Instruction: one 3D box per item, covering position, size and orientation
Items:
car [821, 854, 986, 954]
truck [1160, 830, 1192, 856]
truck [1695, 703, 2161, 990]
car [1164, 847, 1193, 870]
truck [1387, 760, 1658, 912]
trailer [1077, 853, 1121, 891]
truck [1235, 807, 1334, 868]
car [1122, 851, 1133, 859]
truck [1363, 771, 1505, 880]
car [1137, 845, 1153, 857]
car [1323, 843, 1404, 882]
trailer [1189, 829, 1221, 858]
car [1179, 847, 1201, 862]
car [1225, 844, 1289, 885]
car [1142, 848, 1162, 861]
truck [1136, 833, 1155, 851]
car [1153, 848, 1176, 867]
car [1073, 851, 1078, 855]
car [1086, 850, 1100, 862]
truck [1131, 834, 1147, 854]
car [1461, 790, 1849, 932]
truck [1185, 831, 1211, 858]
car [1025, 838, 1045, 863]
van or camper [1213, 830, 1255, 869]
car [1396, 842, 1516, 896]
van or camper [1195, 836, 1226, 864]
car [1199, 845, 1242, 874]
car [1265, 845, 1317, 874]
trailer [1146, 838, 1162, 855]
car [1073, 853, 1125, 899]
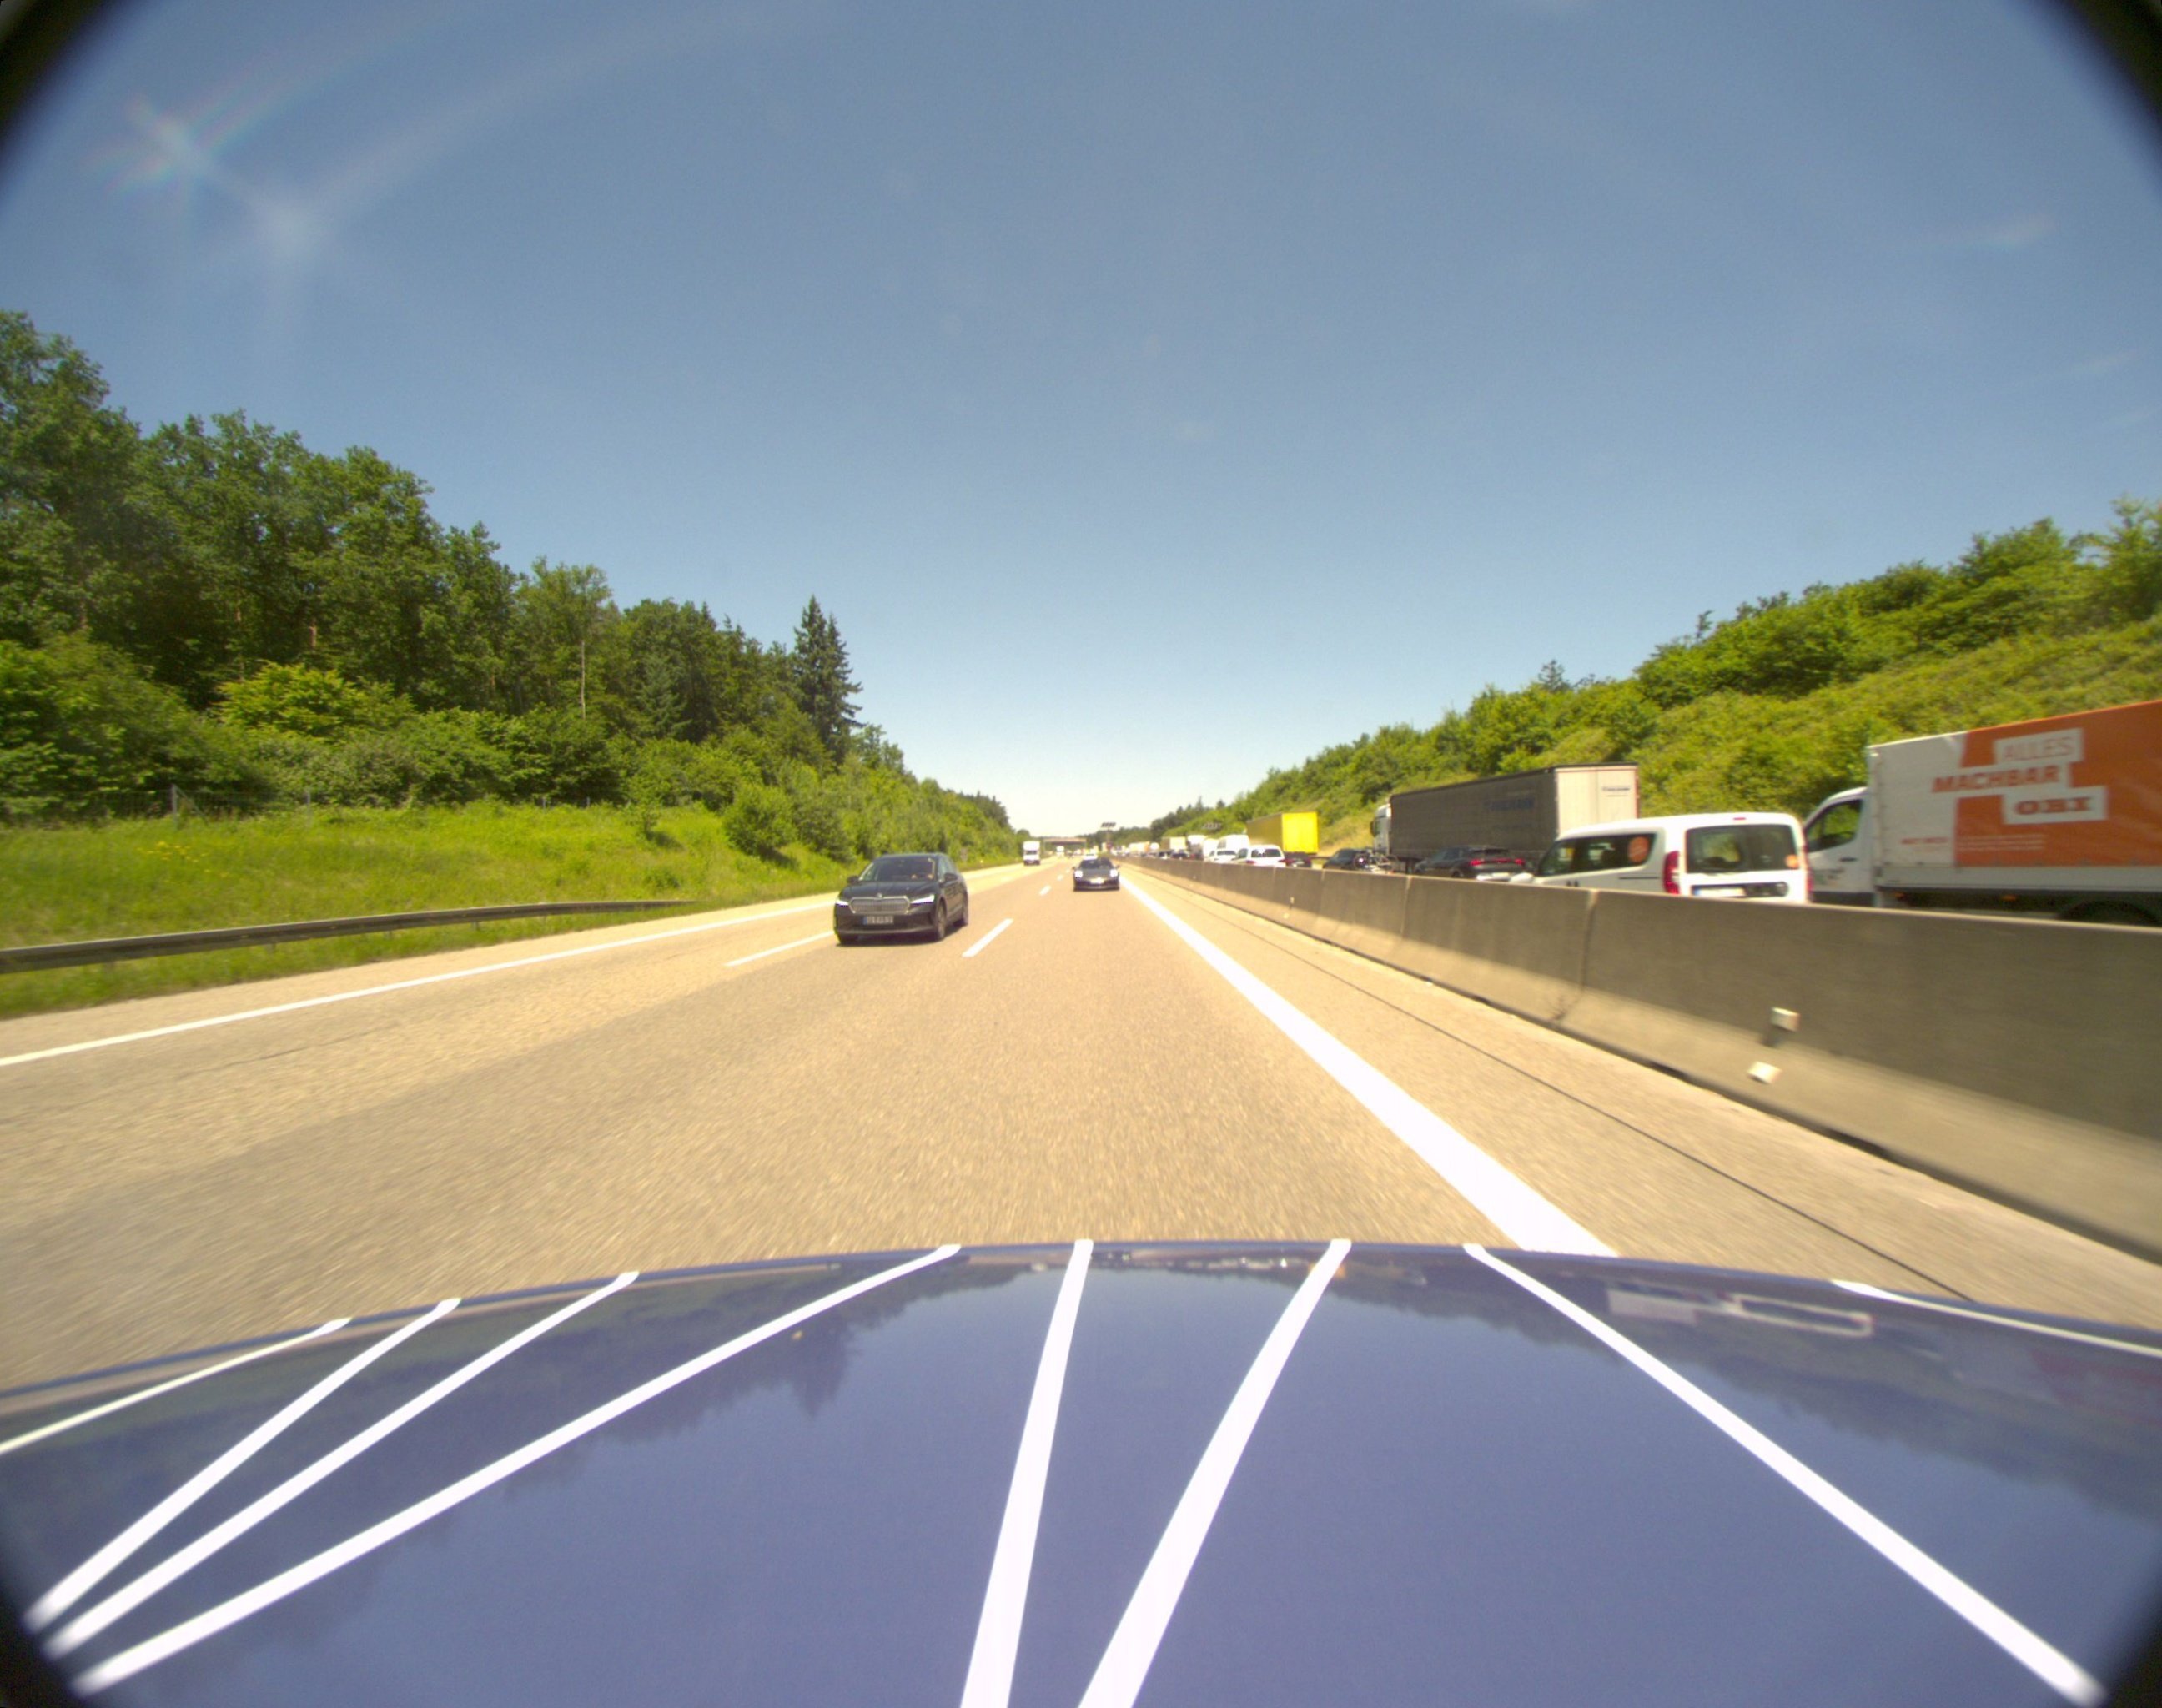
[{"bbox_3d":[-3.308,0.860,15.190,1.989,1.610,4.458,-2,0,3],"label":"car"},{"bbox_3d":[17.388,-2.070,140.801,3.706,4.431,17.378,-2,1,0],"label":"truck"},{"bbox_3d":[12.002,-0.155,9.919,2.575,2.829,6.752,-2,1,1],"label":"truck"},{"bbox_3d":[8.388,0.353,65.914,1.832,1.754,4.989,-2,1,0],"label":"car"},{"bbox_3d":[16.295,-0.659,30.161,3.002,4.517,13.923,-2,1,2],"label":"truck"},{"bbox_3d":[0.778,0.712,31.612,1.689,1.399,3.046,-3,0,3],"label":"trailer"},{"bbox_3d":[16.886,-1.347,65.053,3.706,4.431,16.670,-2,1,-1],"label":"truck"},{"bbox_3d":[9.777,0.257,161.004,1.832,1.488,4.757,-2,1,-1],"label":"car"},{"bbox_3d":[16.510,-1.260,36.358,2.949,4.490,8.604,-2,1,2],"label":"truck"},{"bbox_3d":[9.016,-0.423,107.845,1.832,1.488,4.758,-2,1,0],"label":"car"},{"bbox_3d":[12.407,0.312,33.691,1.832,1.556,4.522,-2,1,0],"label":"car"},{"bbox_3d":[16.805,-1.335,103.386,2.617,3.711,10.681,-2,0,1],"label":"trailer"},{"bbox_3d":[13.416,0.089,93.950,2.002,1.718,4.758,-2,1,0],"label":"car"},{"bbox_3d":[8.243,0.434,35.987,1.832,1.754,4.989,-2,1,0],"label":"car"},{"bbox_3d":[8.631,0.049,92.568,1.832,1.488,4.757,-2,1,-1],"label":"car"},{"bbox_3d":[17.305,-3.246,205.120,3.706,4.431,17.378,-2,1,0],"label":"truck"},{"bbox_3d":[8.780,0.343,80.639,1.832,1.754,4.989,-2,1,0],"label":"car"},{"bbox_3d":[-1.750,-0.313,239.882,1.719,1.432,4.015,-2,1,-1],"label":"car"},{"bbox_3d":[1.465,0.284,96.883,1.718,1.432,4.456,-1,1,0],"label":"car"},{"bbox_3d":[9.473,-1.645,125.193,2.273,2.999,6.776,-2,1,2],"label":"truck"},{"bbox_3d":[7.840,0.040,11.230,1.832,1.556,5.110,-2,1,0],"label":"car"},{"bbox_3d":[16.900,-1.354,110.088,2.685,3.722,5.871,-2,1,1],"label":"truck"},{"bbox_3d":[-6.445,-0.526,108.310,2.303,3.317,7.620,-2,1,0],"label":"car"},{"bbox_3d":[12.692,-0.416,63.636,2.202,2.922,7.534,-2,1,3],"label":"van or camper"},{"bbox_3d":[12.264,0.424,25.191,1.801,1.548,4.448,-2,1,1],"label":"car"},{"bbox_3d":[13.712,-0.501,80.903,2.257,2.759,7.217,-2,1,2],"label":"van or camper"},{"bbox_3d":[9.206,0.288,50.490,1.832,1.754,4.989,-2,1,0],"label":"car"},{"bbox_3d":[12.642,0.288,46.048,1.832,1.556,4.522,-2,1,0],"label":"car"},{"bbox_3d":[17.131,-1.762,178.808,2.584,3.273,11.699,-2,-2,-1],"label":"trailer"},{"bbox_3d":[0.717,0.752,28.293,1.718,1.432,4.457,-3,1,2],"label":"car"}]
